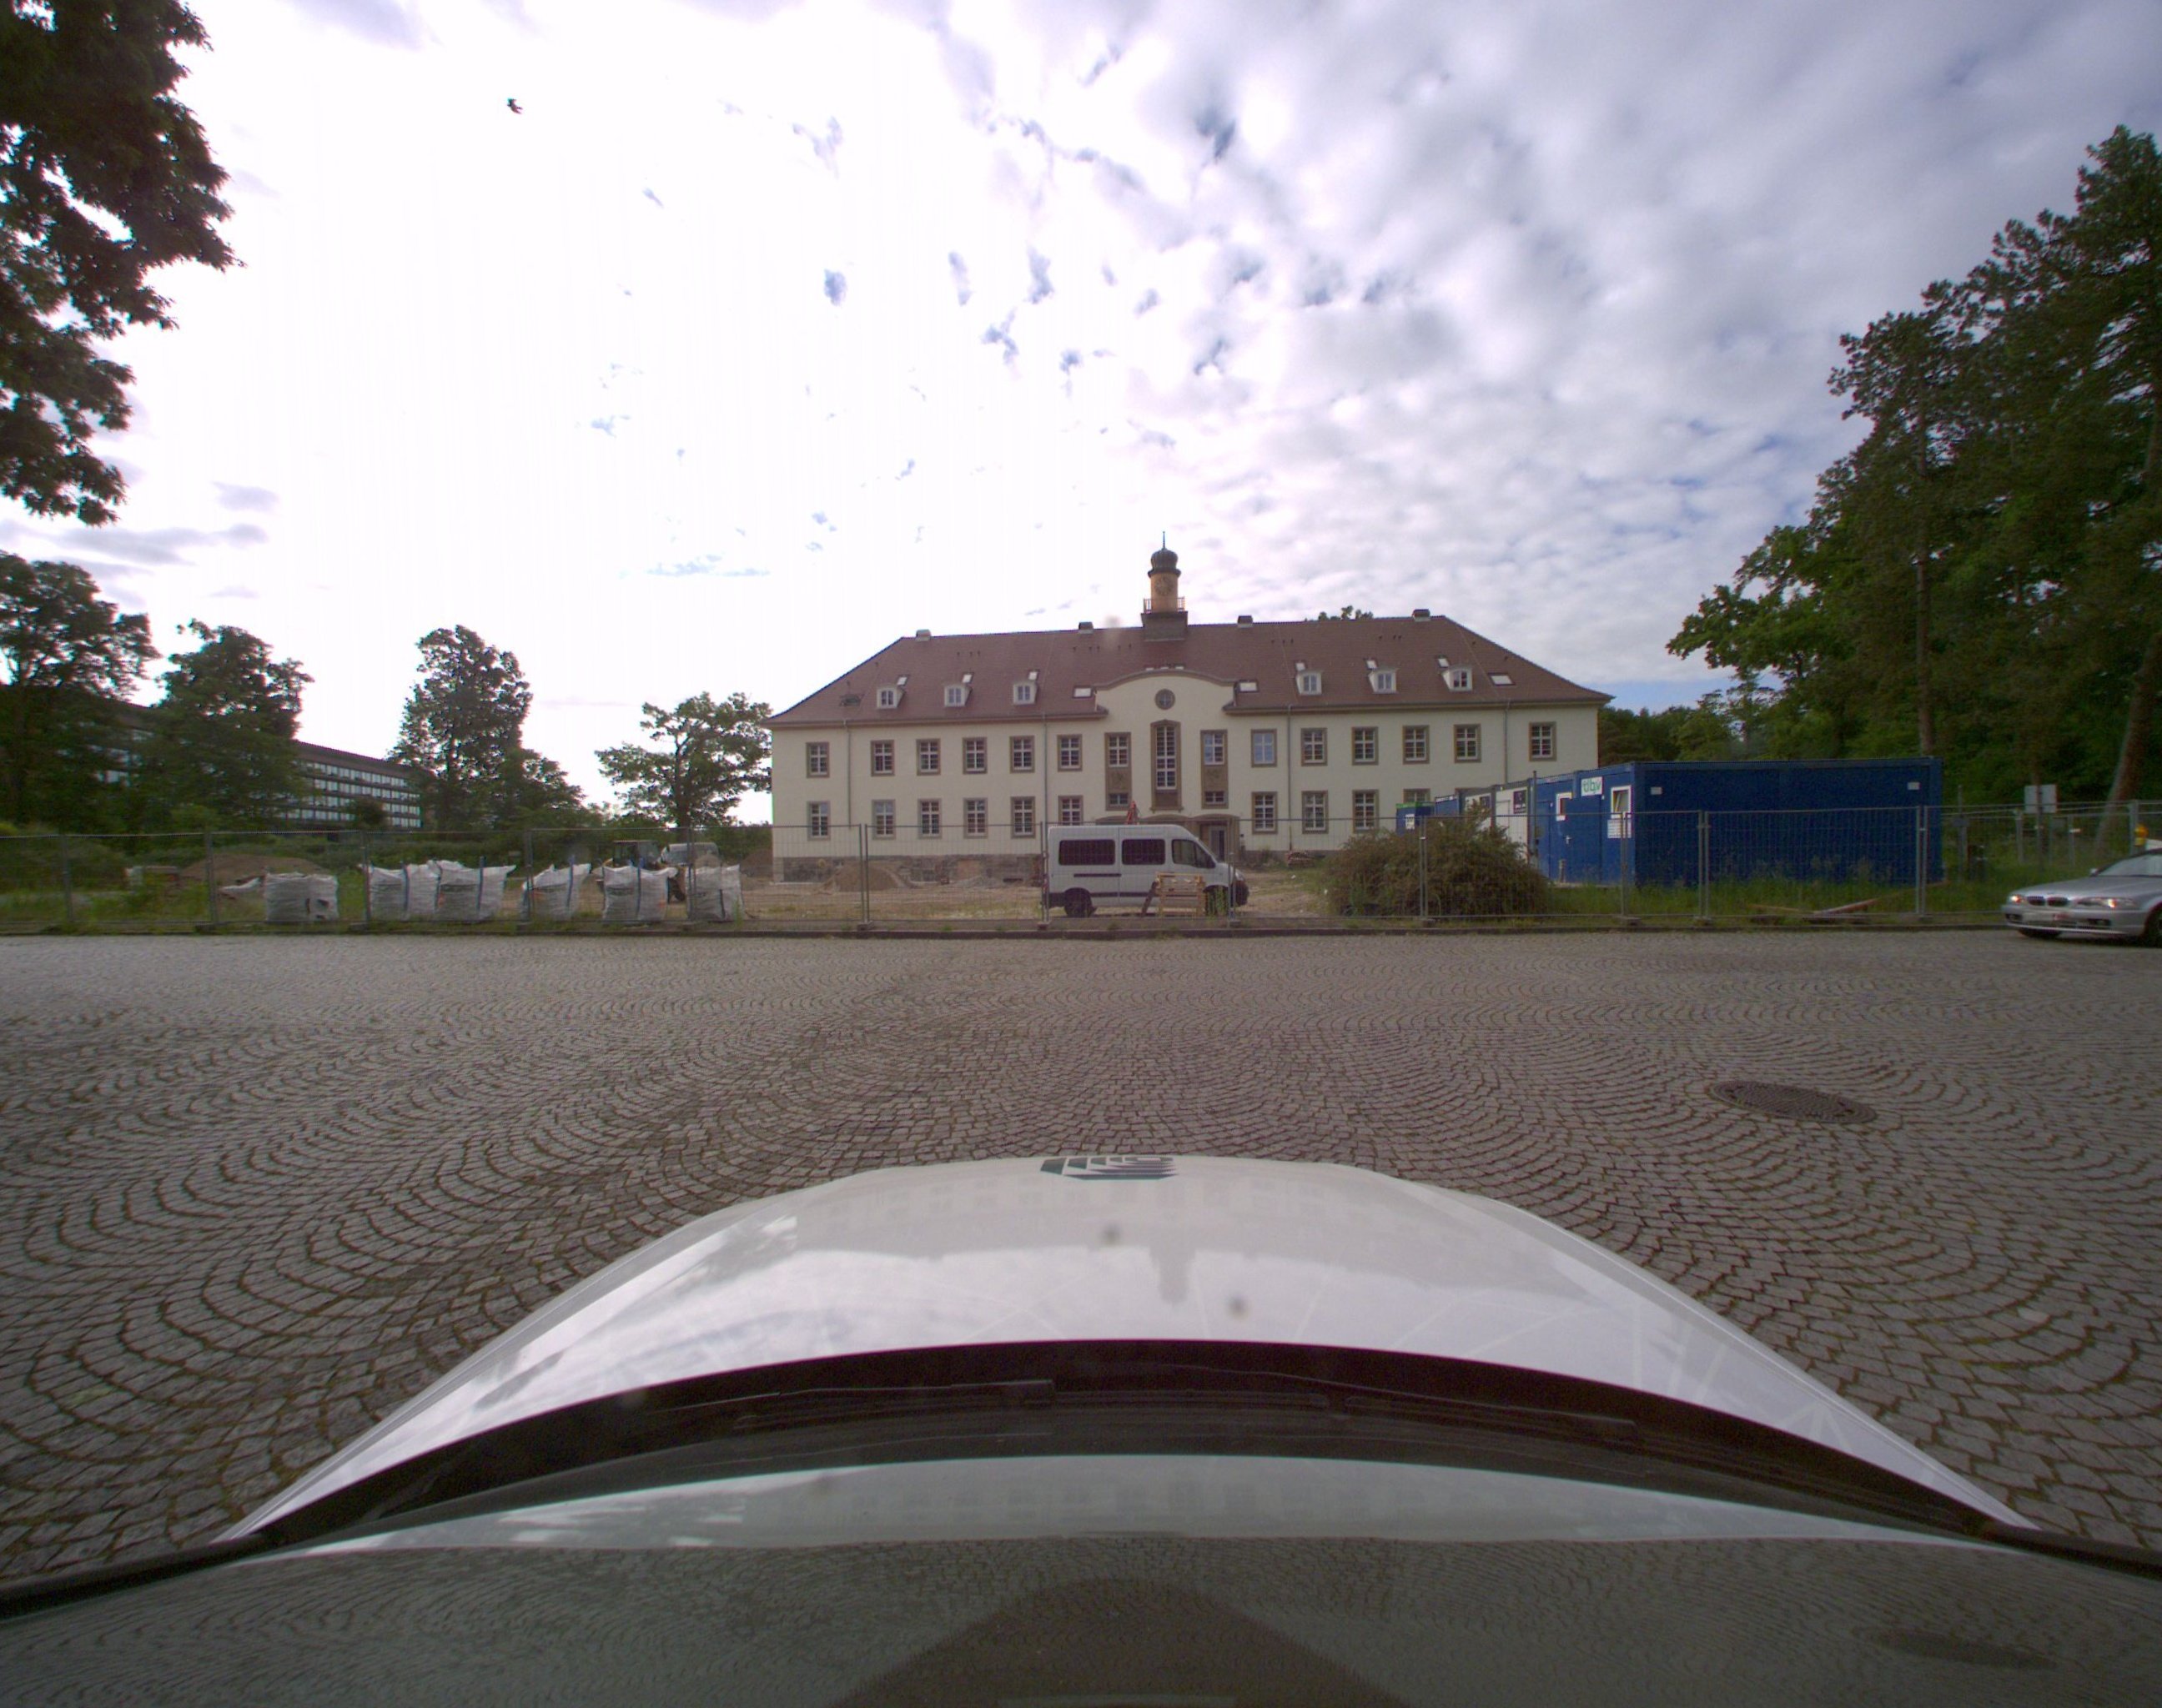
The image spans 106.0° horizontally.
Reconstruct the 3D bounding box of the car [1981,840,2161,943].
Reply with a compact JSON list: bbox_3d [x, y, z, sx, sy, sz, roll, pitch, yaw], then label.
[{"bbox_3d":[15.724,0.480,11.406,4.262,1.346,1.608,-1,-1,3],"label":"car"}]

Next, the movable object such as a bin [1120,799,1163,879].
[{"bbox_3d":[2.975,-0.733,41.307,1.985,3.771,5.321,-1,0,3],"label":"movable object such as a bin"}]

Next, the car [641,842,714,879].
[{"bbox_3d":[-25.107,0.385,50.887,2.061,2.150,4.898,-1,0,0],"label":"car"}]

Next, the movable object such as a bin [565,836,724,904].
[{"bbox_3d":[-17.389,0.632,32.574,5.305,2.556,2.002,-1,0,4],"label":"movable object such as a bin"}]

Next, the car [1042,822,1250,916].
[{"bbox_3d":[1.743,0.392,21.652,5.234,2.344,1.914,-1,0,7],"label":"car"}]
